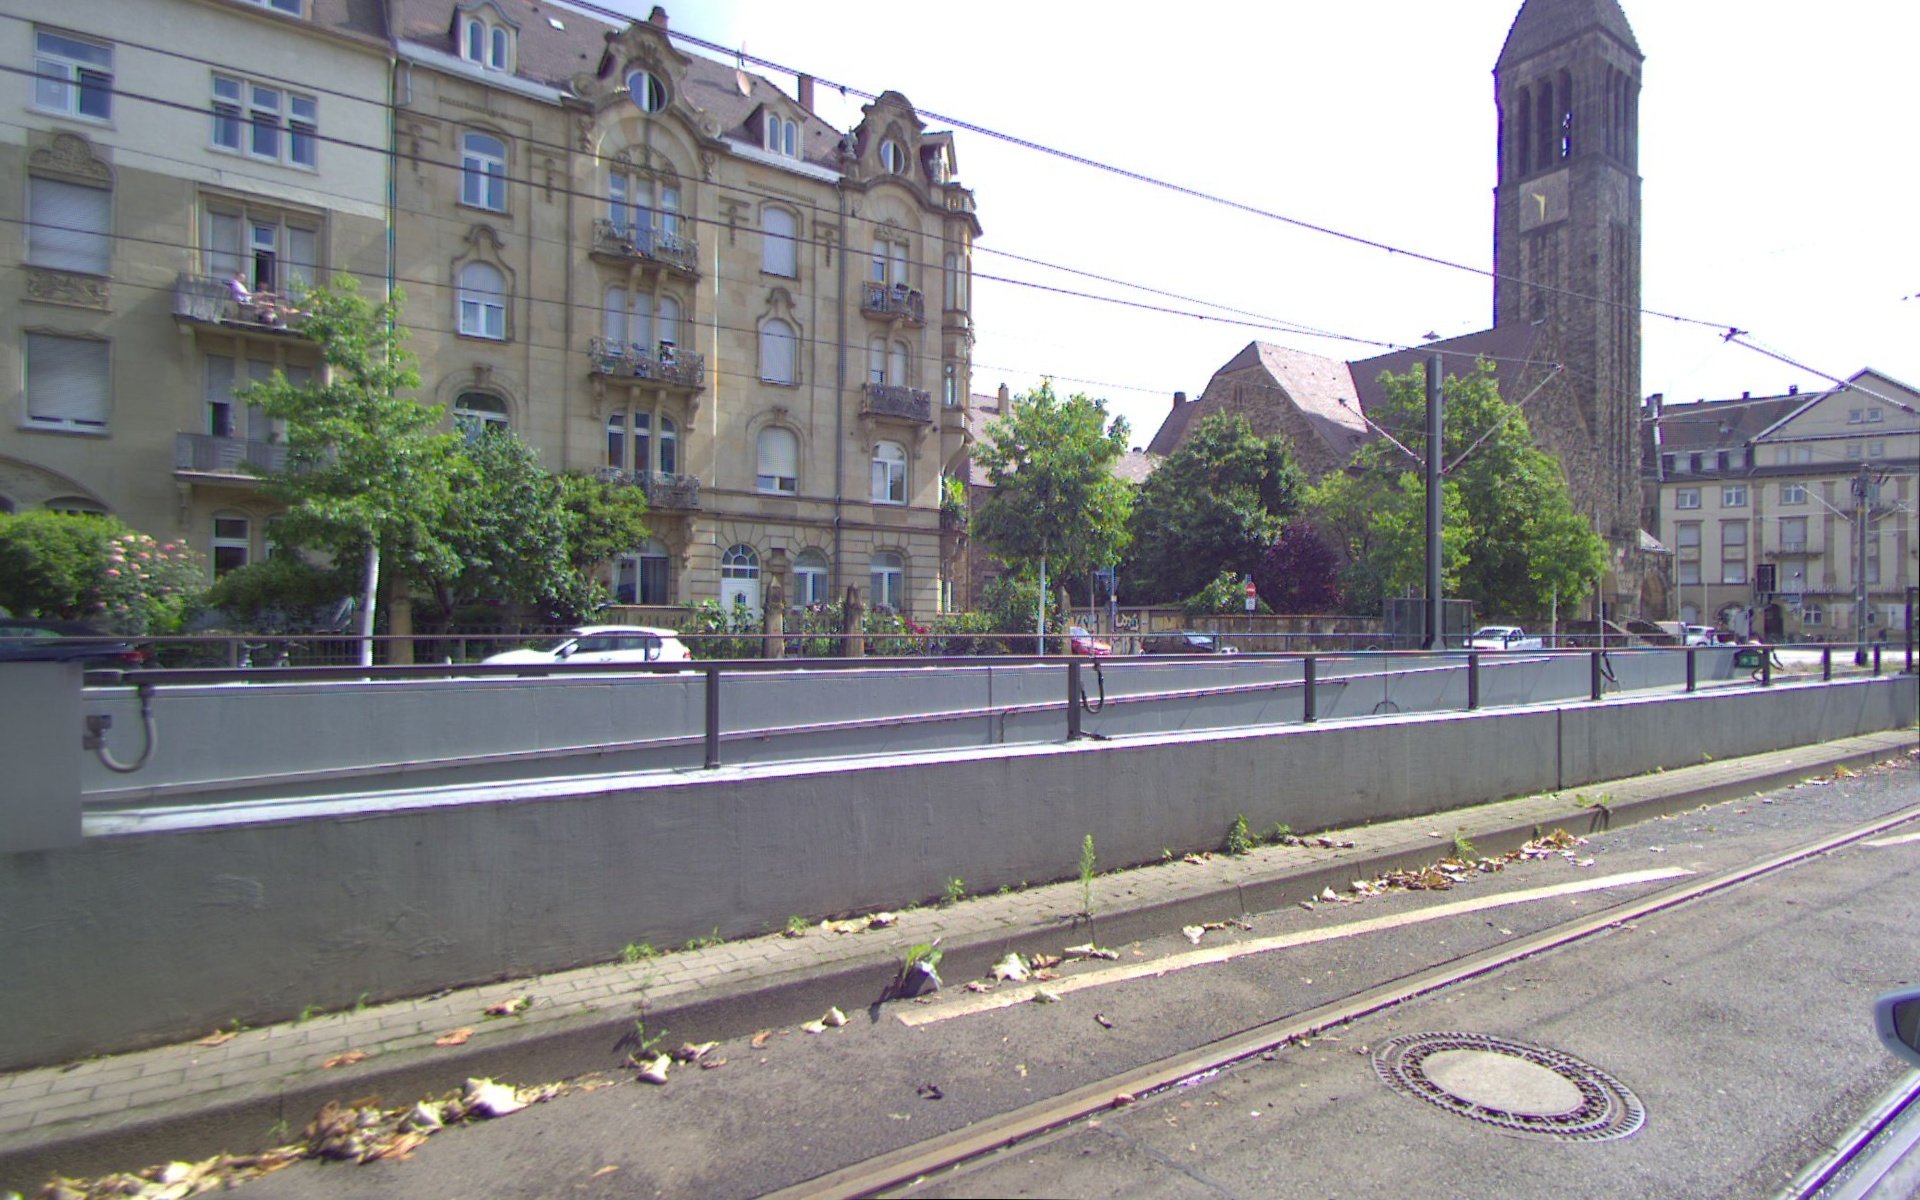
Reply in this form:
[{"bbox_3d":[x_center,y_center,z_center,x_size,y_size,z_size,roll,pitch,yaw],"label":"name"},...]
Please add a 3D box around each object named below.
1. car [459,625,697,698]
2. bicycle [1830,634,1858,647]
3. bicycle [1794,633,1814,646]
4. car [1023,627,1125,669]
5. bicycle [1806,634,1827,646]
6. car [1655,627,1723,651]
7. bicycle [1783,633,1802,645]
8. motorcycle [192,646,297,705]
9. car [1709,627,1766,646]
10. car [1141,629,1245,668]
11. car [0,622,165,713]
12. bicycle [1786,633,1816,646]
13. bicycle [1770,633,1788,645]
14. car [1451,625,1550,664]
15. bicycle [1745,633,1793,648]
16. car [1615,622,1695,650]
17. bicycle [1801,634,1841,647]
[{"bbox_3d":[-7.735,1.195,20.513,4.271,1.345,1.739,1,-2,-36],"label":"car"},{"bbox_3d":[76.288,3.484,86.694,2.528,1.067,0.802,1,-1,-22],"label":"bicycle"},{"bbox_3d":[74.009,3.458,88.086,0.791,1.067,2.563,0,-2,27],"label":"bicycle"},{"bbox_3d":[4.162,1.725,37.092,1.910,1.483,3.762,1,-2,-30],"label":"car"},{"bbox_3d":[74.752,3.470,87.682,0.791,1.067,2.563,0,-2,27],"label":"bicycle"},{"bbox_3d":[47.897,2.513,66.018,1.836,1.522,3.244,1,-2,-35],"label":"car"},{"bbox_3d":[73.318,3.448,88.513,0.729,1.067,2.563,0,-2,27],"label":"bicycle"},{"bbox_3d":[-12.338,1.281,17.371,1.404,0.954,1.749,1,-3,-35],"label":"motorcycle"},{"bbox_3d":[69.354,3.258,89.663,1.961,1.696,4.000,0,-1,-1],"label":"car"},{"bbox_3d":[9.175,1.876,39.776,1.705,1.483,3.940,1,-2,-33],"label":"car"},{"bbox_3d":[-14.970,1.012,15.538,4.061,1.345,2.006,1,-2,-36],"label":"car"},{"bbox_3d":[72.186,3.400,86.246,1.938,1.129,0.487,0,-1,20],"label":"bicycle"},{"bbox_3d":[72.789,3.445,89.276,0.729,1.067,2.362,0,-2,27],"label":"bicycle"},{"bbox_3d":[22.391,1.819,41.541,4.371,1.524,1.918,1,-2,-36],"label":"car"},{"bbox_3d":[71.323,3.538,88.556,0.983,1.270,3.309,1,-2,-17],"label":"bicycle"},{"bbox_3d":[44.802,2.312,64.833,1.877,1.772,3.843,1,-2,-36],"label":"car"},{"bbox_3d":[73.889,3.437,86.185,2.520,1.067,0.681,-1,-1,29],"label":"bicycle"}]
